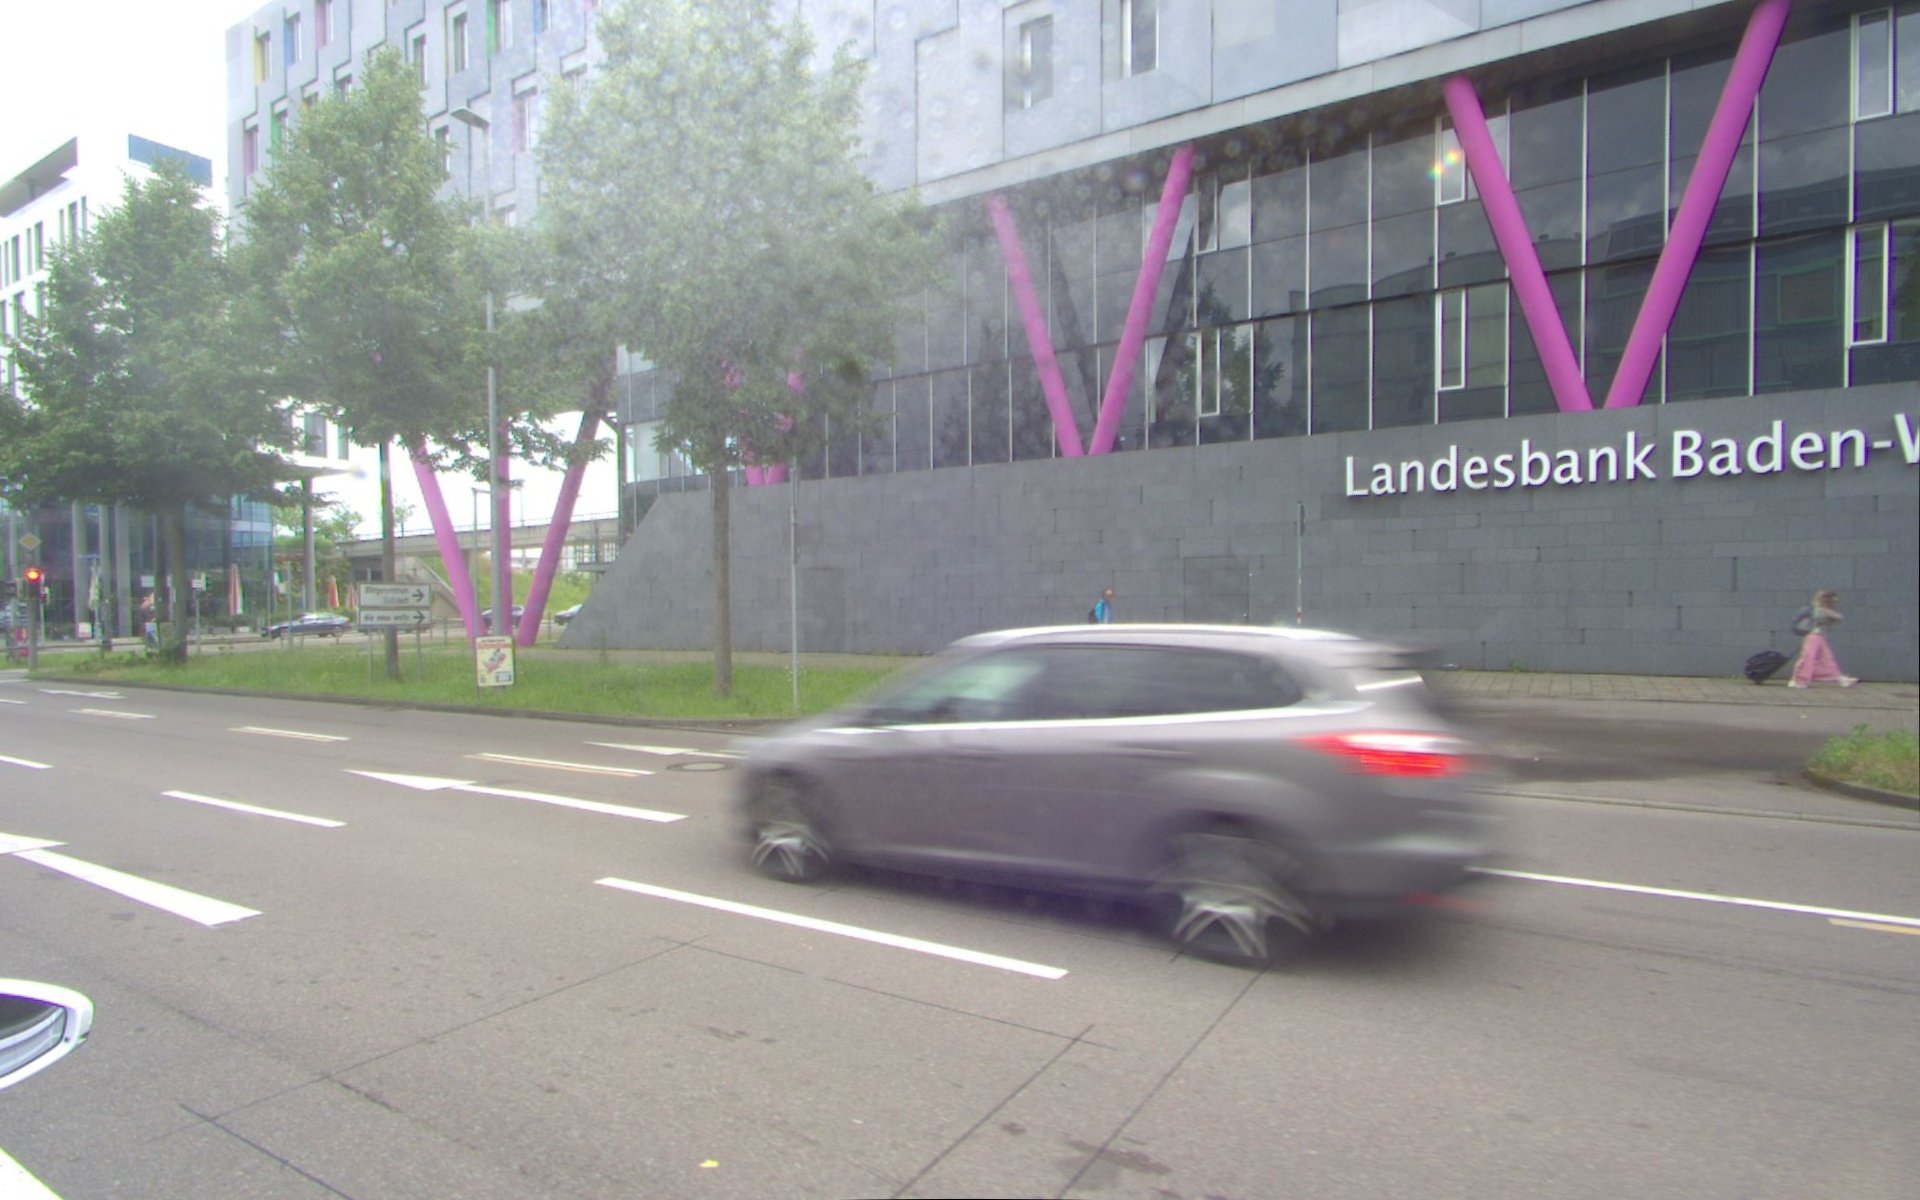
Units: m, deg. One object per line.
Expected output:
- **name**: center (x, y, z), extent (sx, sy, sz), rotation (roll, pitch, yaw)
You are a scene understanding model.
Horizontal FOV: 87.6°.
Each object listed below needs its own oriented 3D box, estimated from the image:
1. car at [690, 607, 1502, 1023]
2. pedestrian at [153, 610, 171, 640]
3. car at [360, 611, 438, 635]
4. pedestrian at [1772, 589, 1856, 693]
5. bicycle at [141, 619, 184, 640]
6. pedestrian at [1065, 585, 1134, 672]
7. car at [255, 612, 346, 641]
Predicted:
- **car**: center (0.605, 0.830, 5.655), extent (4.207, 1.519, 1.744), rotation (1, 0, 33)
- **pedestrian**: center (-44.121, 1.360, 55.385), extent (0.610, 1.625, 0.613), rotation (0, 1, 34)
- **car**: center (-36.349, 1.460, 64.999), extent (1.733, 1.474, 4.070), rotation (0, 0, 34)
- **pedestrian**: center (13.678, 0.629, 16.066), extent (0.902, 1.604, 0.782), rotation (1, 1, 33)
- **bicycle**: center (-44.107, 1.627, 55.404), extent (0.609, 1.100, 1.787), rotation (0, 0, 34)
- **pedestrian**: center (2.990, 0.586, 21.424), extent (1.121, 1.794, 1.049), rotation (1, 1, 33)
- **car**: center (-39.283, 1.538, 59.726), extent (1.733, 1.636, 4.240), rotation (0, 0, 34)
